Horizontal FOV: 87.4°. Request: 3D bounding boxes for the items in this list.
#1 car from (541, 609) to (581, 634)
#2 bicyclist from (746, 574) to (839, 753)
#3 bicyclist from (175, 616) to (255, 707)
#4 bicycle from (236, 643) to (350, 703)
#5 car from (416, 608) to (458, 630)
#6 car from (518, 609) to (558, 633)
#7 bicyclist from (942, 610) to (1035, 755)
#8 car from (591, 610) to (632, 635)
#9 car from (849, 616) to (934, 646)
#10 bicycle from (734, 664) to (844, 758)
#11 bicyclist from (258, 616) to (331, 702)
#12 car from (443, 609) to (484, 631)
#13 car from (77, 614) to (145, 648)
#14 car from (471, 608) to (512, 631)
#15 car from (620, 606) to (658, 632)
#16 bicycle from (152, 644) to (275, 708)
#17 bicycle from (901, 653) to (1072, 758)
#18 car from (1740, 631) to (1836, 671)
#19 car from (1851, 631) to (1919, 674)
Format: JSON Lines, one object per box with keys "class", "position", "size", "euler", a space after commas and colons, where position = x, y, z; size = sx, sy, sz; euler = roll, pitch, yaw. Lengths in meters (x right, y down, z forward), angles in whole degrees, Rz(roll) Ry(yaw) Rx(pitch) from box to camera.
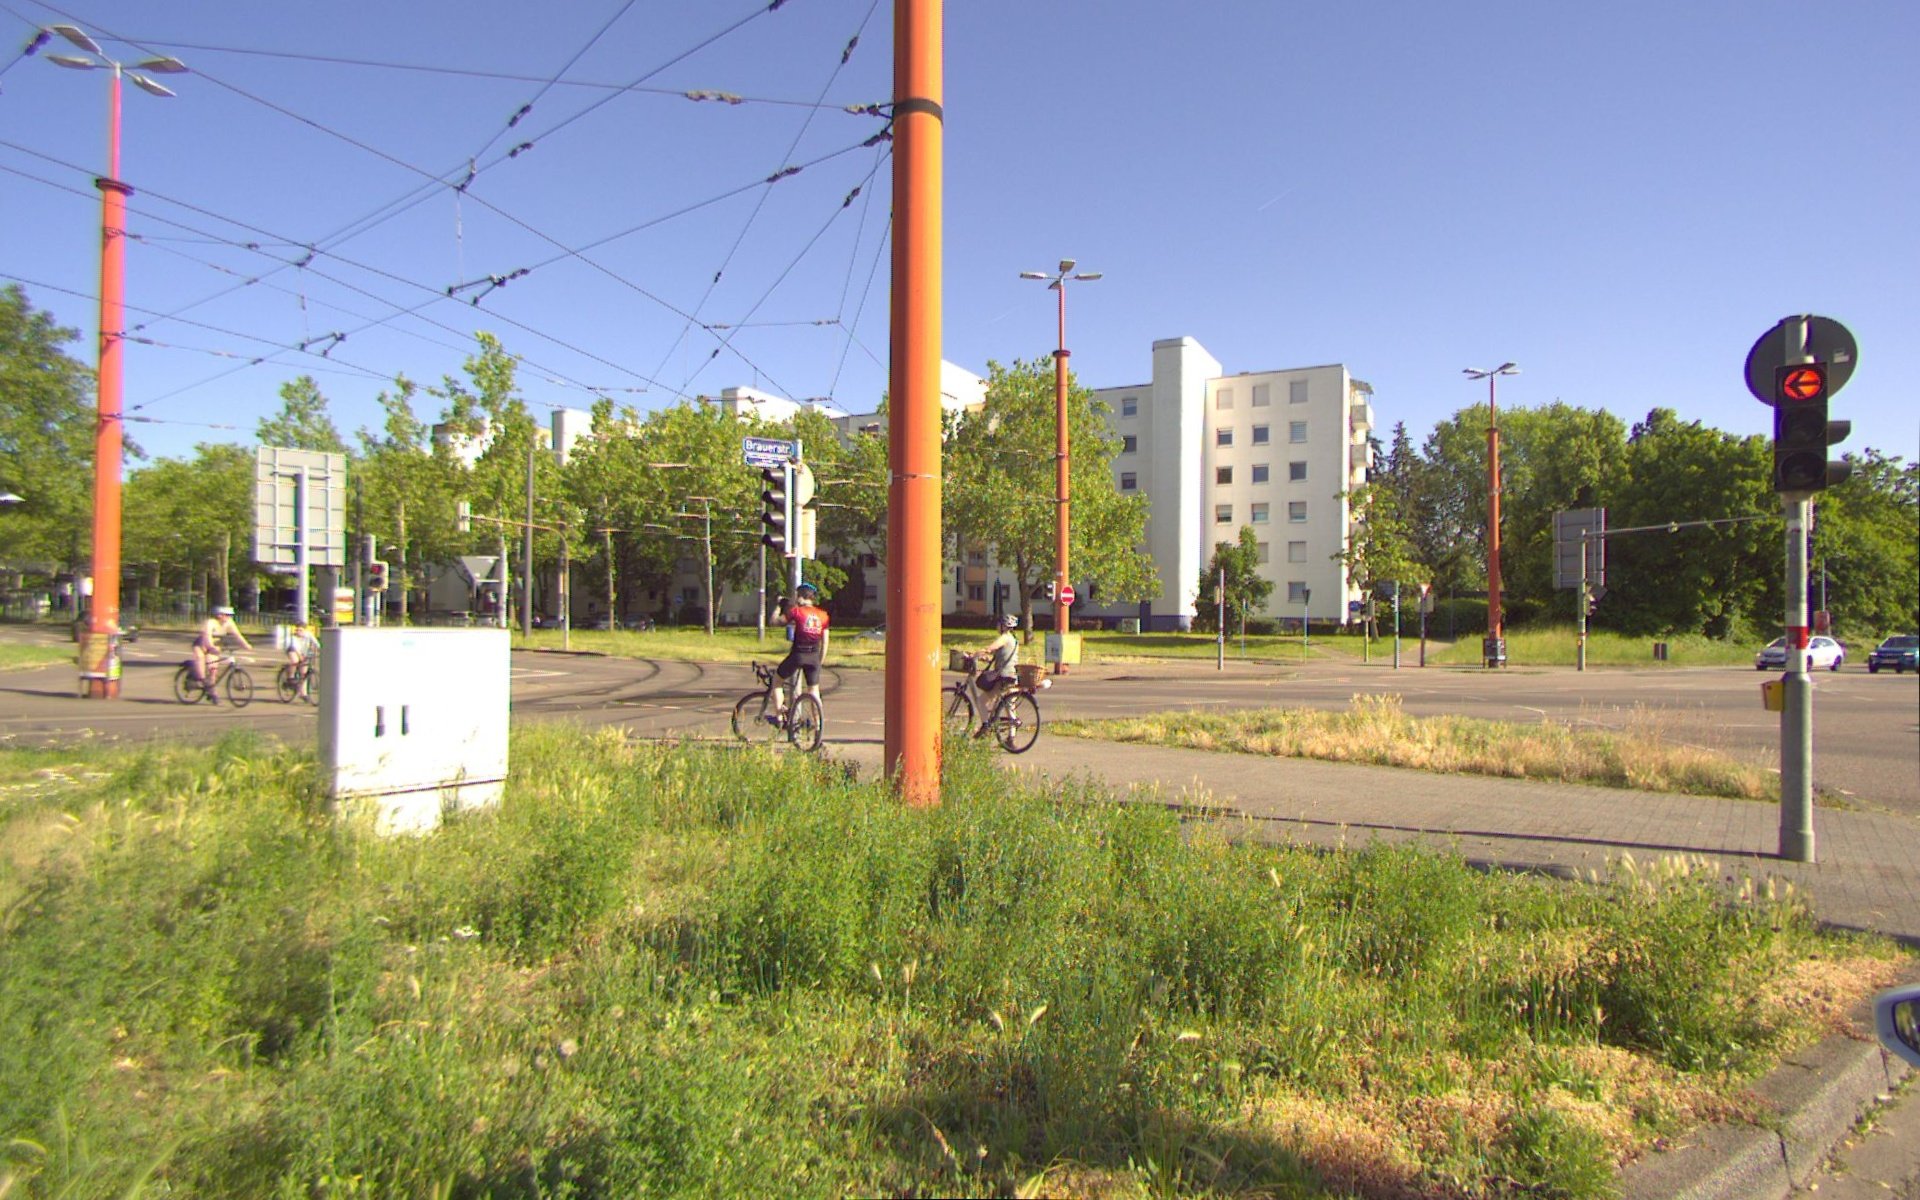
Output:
{"class": "car", "position": [-31.200, 1.675, 78.674], "size": [1.963, 1.840, 3.995], "euler": [1, -1, -8]}
{"class": "bicyclist", "position": [-2.011, 0.742, 12.002], "size": [0.921, 2.040, 0.736], "euler": [1, -1, -25]}
{"class": "bicyclist", "position": [-14.007, 1.130, 18.893], "size": [0.726, 1.659, 0.934], "euler": [0, -1, 18]}
{"class": "bicycle", "position": [-13.256, 1.439, 19.976], "size": [1.849, 1.102, 0.928], "euler": [0, -1, 18]}
{"class": "car", "position": [-46.030, 1.676, 88.471], "size": [1.963, 1.840, 3.995], "euler": [1, -1, -8]}
{"class": "car", "position": [-33.816, 1.670, 80.523], "size": [1.963, 1.840, 3.995], "euler": [1, -1, -8]}
{"class": "bicyclist", "position": [0.354, 0.953, 12.094], "size": [0.728, 1.659, 0.931], "euler": [0, -1, 35]}
{"class": "car", "position": [-26.117, 1.686, 75.324], "size": [1.962, 1.840, 3.997], "euler": [1, -1, -5]}
{"class": "car", "position": [-3.642, 1.636, 53.289], "size": [4.141, 1.471, 1.798], "euler": [0, -1, 24]}
{"class": "bicycle", "position": [-2.120, 1.304, 12.232], "size": [0.915, 0.976, 1.747], "euler": [1, -1, -24]}
{"class": "bicyclist", "position": [-13.217, 1.159, 19.964], "size": [0.726, 1.659, 0.934], "euler": [0, -1, 18]}
{"class": "car", "position": [-42.681, 1.699, 86.443], "size": [1.963, 1.840, 3.995], "euler": [1, -1, -8]}
{"class": "car", "position": [-42.339, 1.519, 50.072], "size": [3.848, 1.615, 1.935], "euler": [0, -2, 39]}
{"class": "car", "position": [-39.291, 1.641, 84.321], "size": [1.963, 1.840, 3.995], "euler": [1, -1, -8]}
{"class": "car", "position": [-23.410, 1.398, 73.413], "size": [1.963, 1.840, 3.995], "euler": [1, -1, -8]}
{"class": "bicycle", "position": [-14.034, 1.409, 18.892], "size": [1.849, 1.102, 0.928], "euler": [0, -1, 18]}
{"class": "bicycle", "position": [0.310, 1.223, 12.118], "size": [1.855, 1.102, 0.925], "euler": [0, -1, 34]}
{"class": "car", "position": [35.138, 2.148, 42.604], "size": [4.075, 1.594, 1.983], "euler": [1, -1, -32]}
{"class": "car", "position": [37.262, 2.035, 39.863], "size": [4.079, 1.594, 1.981], "euler": [2, -1, -35]}
